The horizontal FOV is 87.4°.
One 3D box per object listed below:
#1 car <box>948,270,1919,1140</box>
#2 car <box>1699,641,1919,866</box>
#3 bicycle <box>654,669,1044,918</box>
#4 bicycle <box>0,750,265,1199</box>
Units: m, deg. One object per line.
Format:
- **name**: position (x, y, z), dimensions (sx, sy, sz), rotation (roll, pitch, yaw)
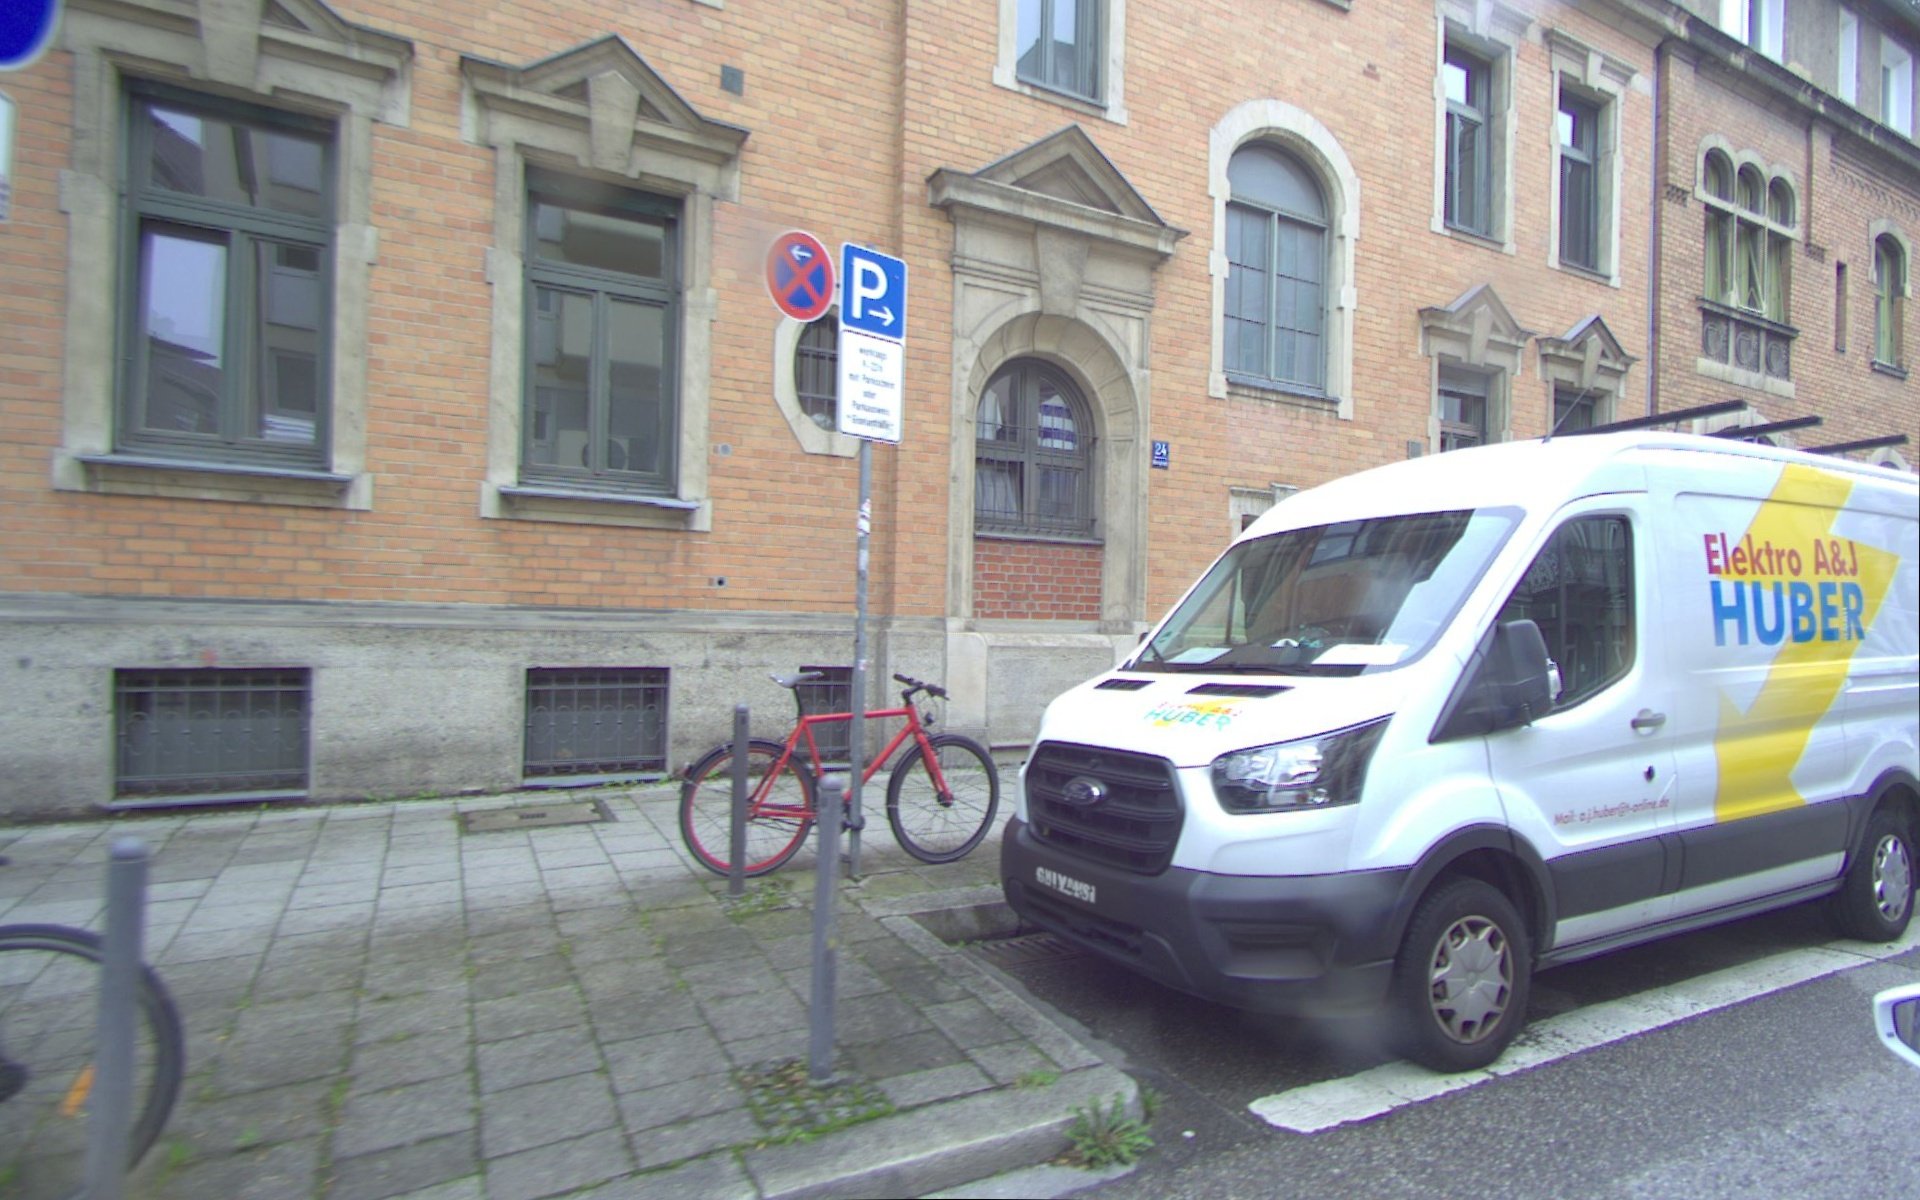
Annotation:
- **car**: position (2.788, 0.412, 5.055), dimensions (5.403, 2.500, 1.985), rotation (2, -3, -28)
- **car**: position (7.820, 1.081, 7.907), dimensions (3.947, 1.473, 1.683), rotation (2, -3, -28)
- **bicycle**: position (-0.540, 0.909, 5.117), dimensions (1.868, 1.068, 0.578), rotation (2, 0, -24)
- **bicycle**: position (-2.540, 0.900, 2.041), dimensions (1.738, 1.068, 0.578), rotation (2, -1, -24)
